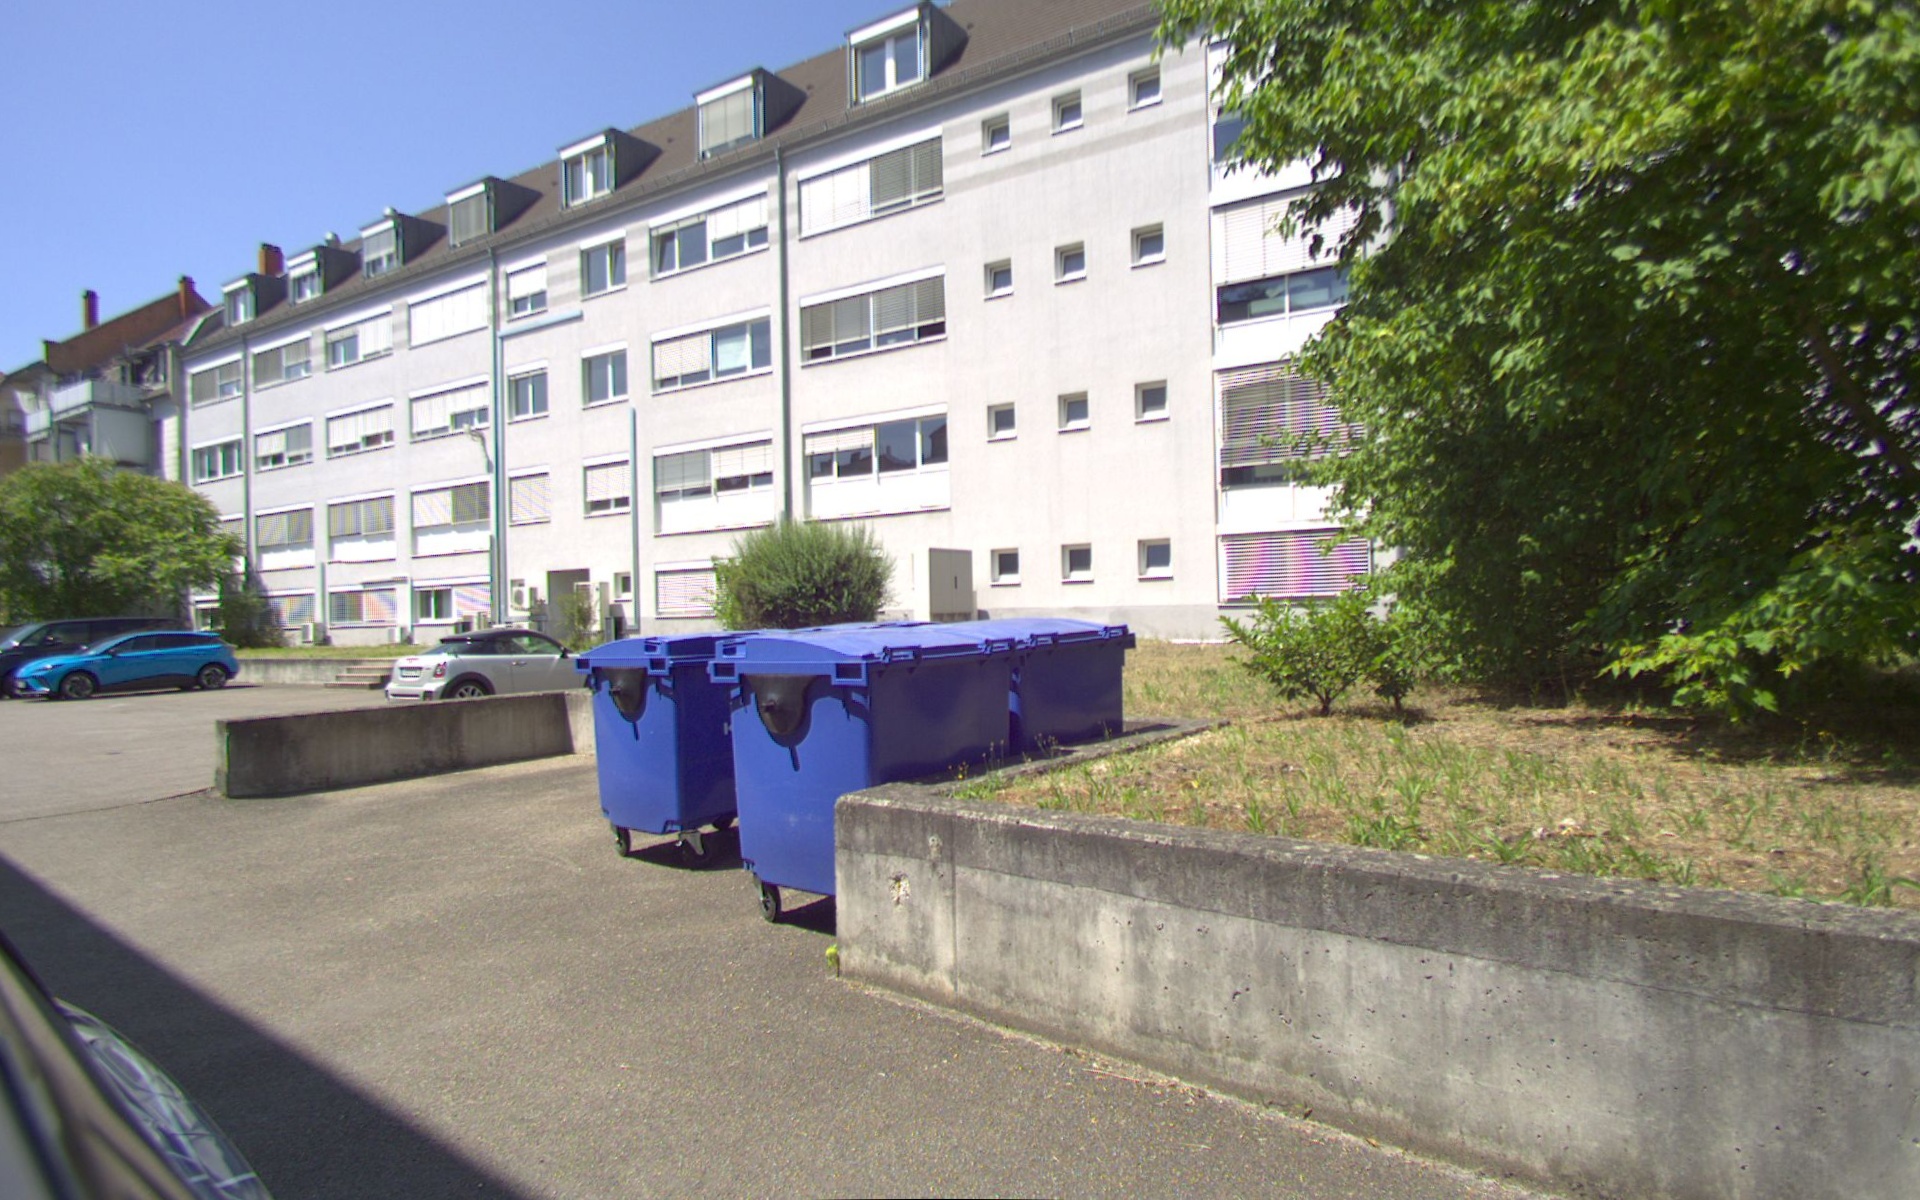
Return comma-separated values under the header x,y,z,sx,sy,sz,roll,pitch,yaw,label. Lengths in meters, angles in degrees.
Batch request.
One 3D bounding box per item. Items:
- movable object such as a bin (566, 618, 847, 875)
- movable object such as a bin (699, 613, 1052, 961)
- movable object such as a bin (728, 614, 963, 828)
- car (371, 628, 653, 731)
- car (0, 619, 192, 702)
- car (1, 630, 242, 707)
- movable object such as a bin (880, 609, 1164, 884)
x,y,z,sx,sy,sz,roll,pitch,yaw,label
-1.539,0.807,6.222,1.102,1.338,1.243,-2,-1,37,movable object such as a bin
-0.374,0.758,4.810,1.102,1.338,1.243,-2,-1,37,movable object such as a bin
-0.807,0.797,7.283,1.102,1.338,1.243,-2,-1,37,movable object such as a bin
-7.185,1.204,16.592,1.706,1.447,3.955,-2,-2,33,car
-22.478,1.479,25.649,1.995,1.846,4.400,-2,-1,34,car
-20.137,1.575,24.476,1.853,1.565,4.125,-2,-1,32,car
0.380,0.748,5.849,1.102,1.338,1.243,-2,-1,37,movable object such as a bin
